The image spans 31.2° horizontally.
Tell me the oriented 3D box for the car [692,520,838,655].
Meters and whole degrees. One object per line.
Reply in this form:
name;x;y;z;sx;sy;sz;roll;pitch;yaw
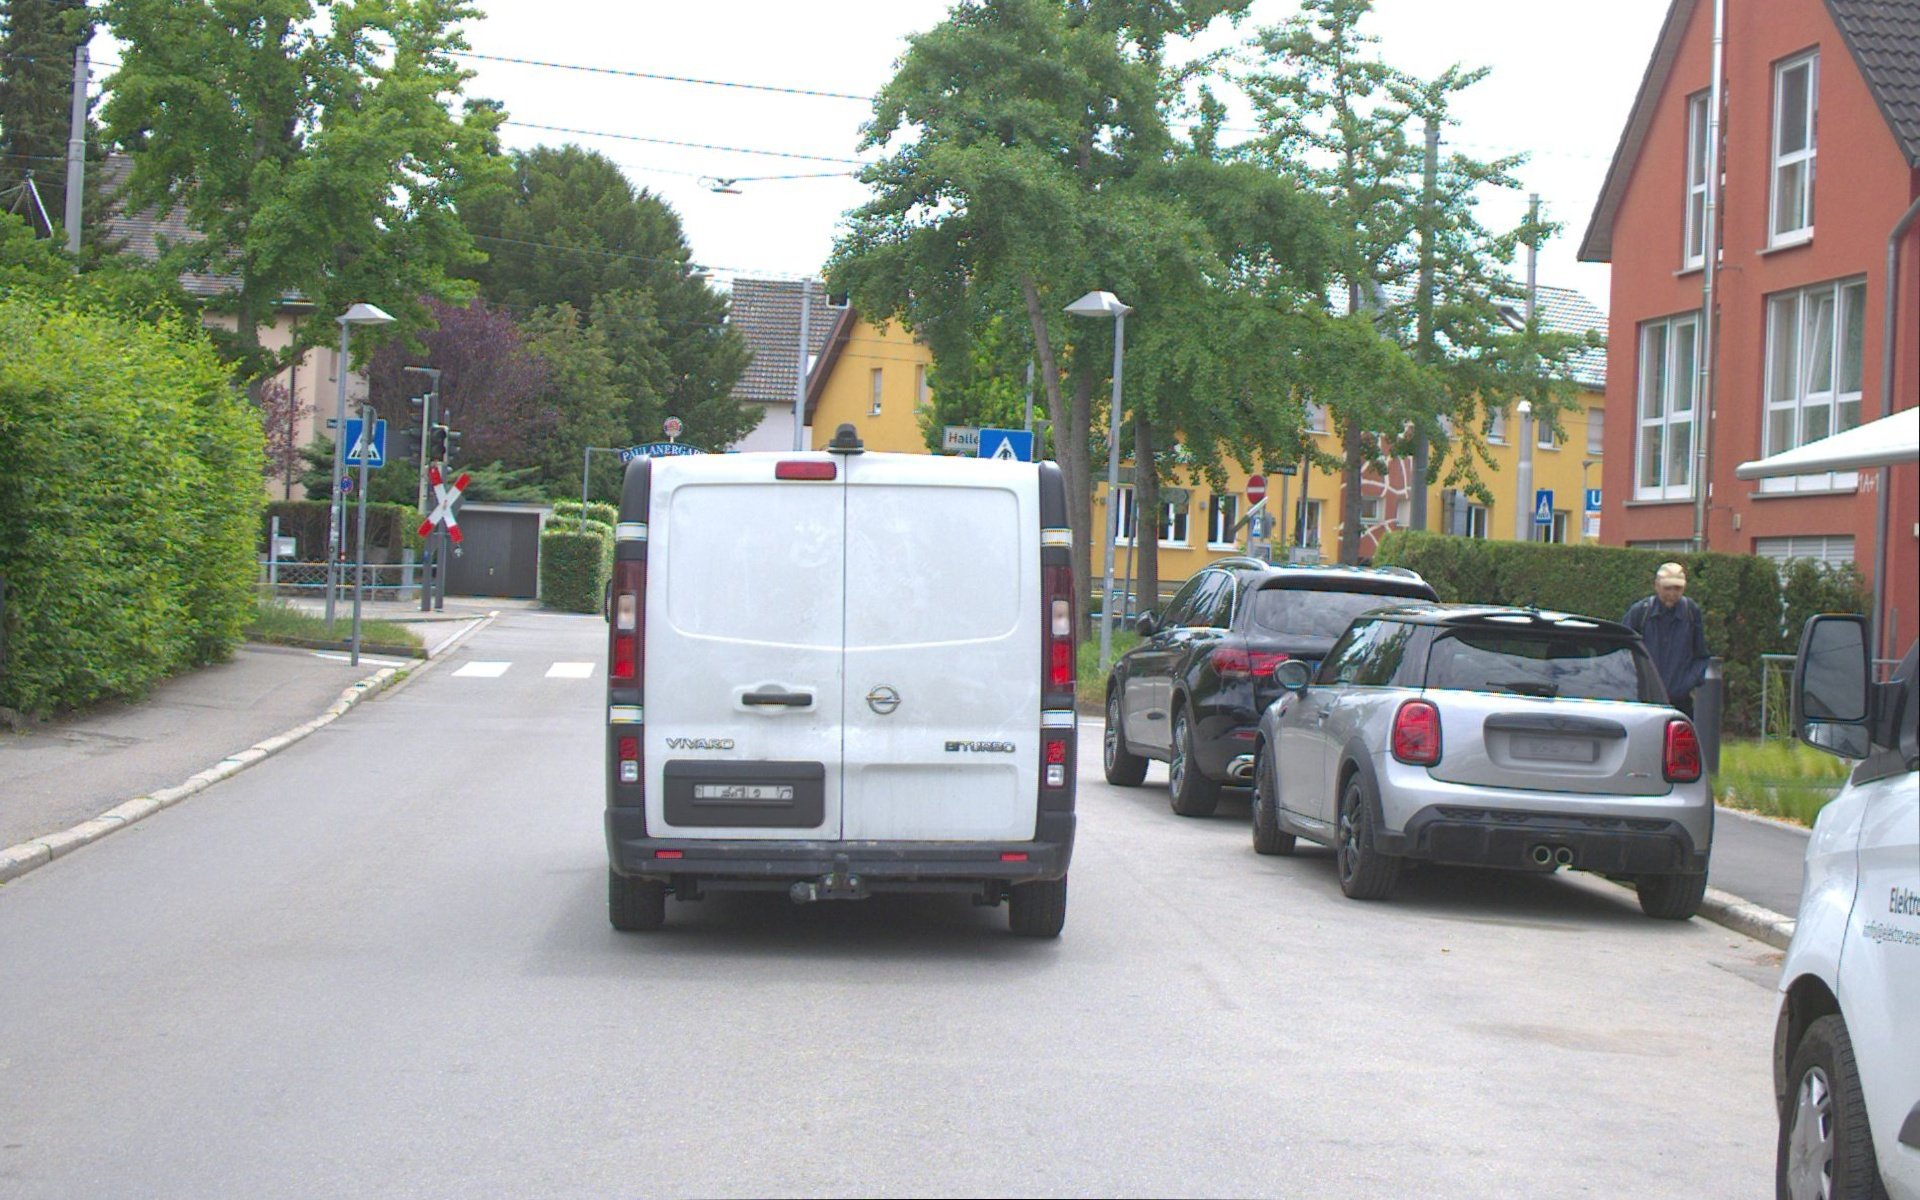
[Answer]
car;-2.831;-0.175;50.368;1.993;1.842;4.000;2;0;-2

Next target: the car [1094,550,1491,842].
car;2.061;0.552;22.531;1.702;1.609;4.259;5;0;-5

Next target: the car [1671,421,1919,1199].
car;2.876;0.668;5.820;1.958;1.909;4.902;4;0;-3

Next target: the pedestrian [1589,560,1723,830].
pedestrian;4.289;0.580;21.206;0.590;1.601;0.529;5;-1;-1

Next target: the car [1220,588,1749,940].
car;2.552;0.752;17.602;1.741;1.489;3.656;5;0;-5

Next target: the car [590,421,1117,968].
car;-0.541;0.332;15.114;1.915;1.996;4.438;2;1;-4
